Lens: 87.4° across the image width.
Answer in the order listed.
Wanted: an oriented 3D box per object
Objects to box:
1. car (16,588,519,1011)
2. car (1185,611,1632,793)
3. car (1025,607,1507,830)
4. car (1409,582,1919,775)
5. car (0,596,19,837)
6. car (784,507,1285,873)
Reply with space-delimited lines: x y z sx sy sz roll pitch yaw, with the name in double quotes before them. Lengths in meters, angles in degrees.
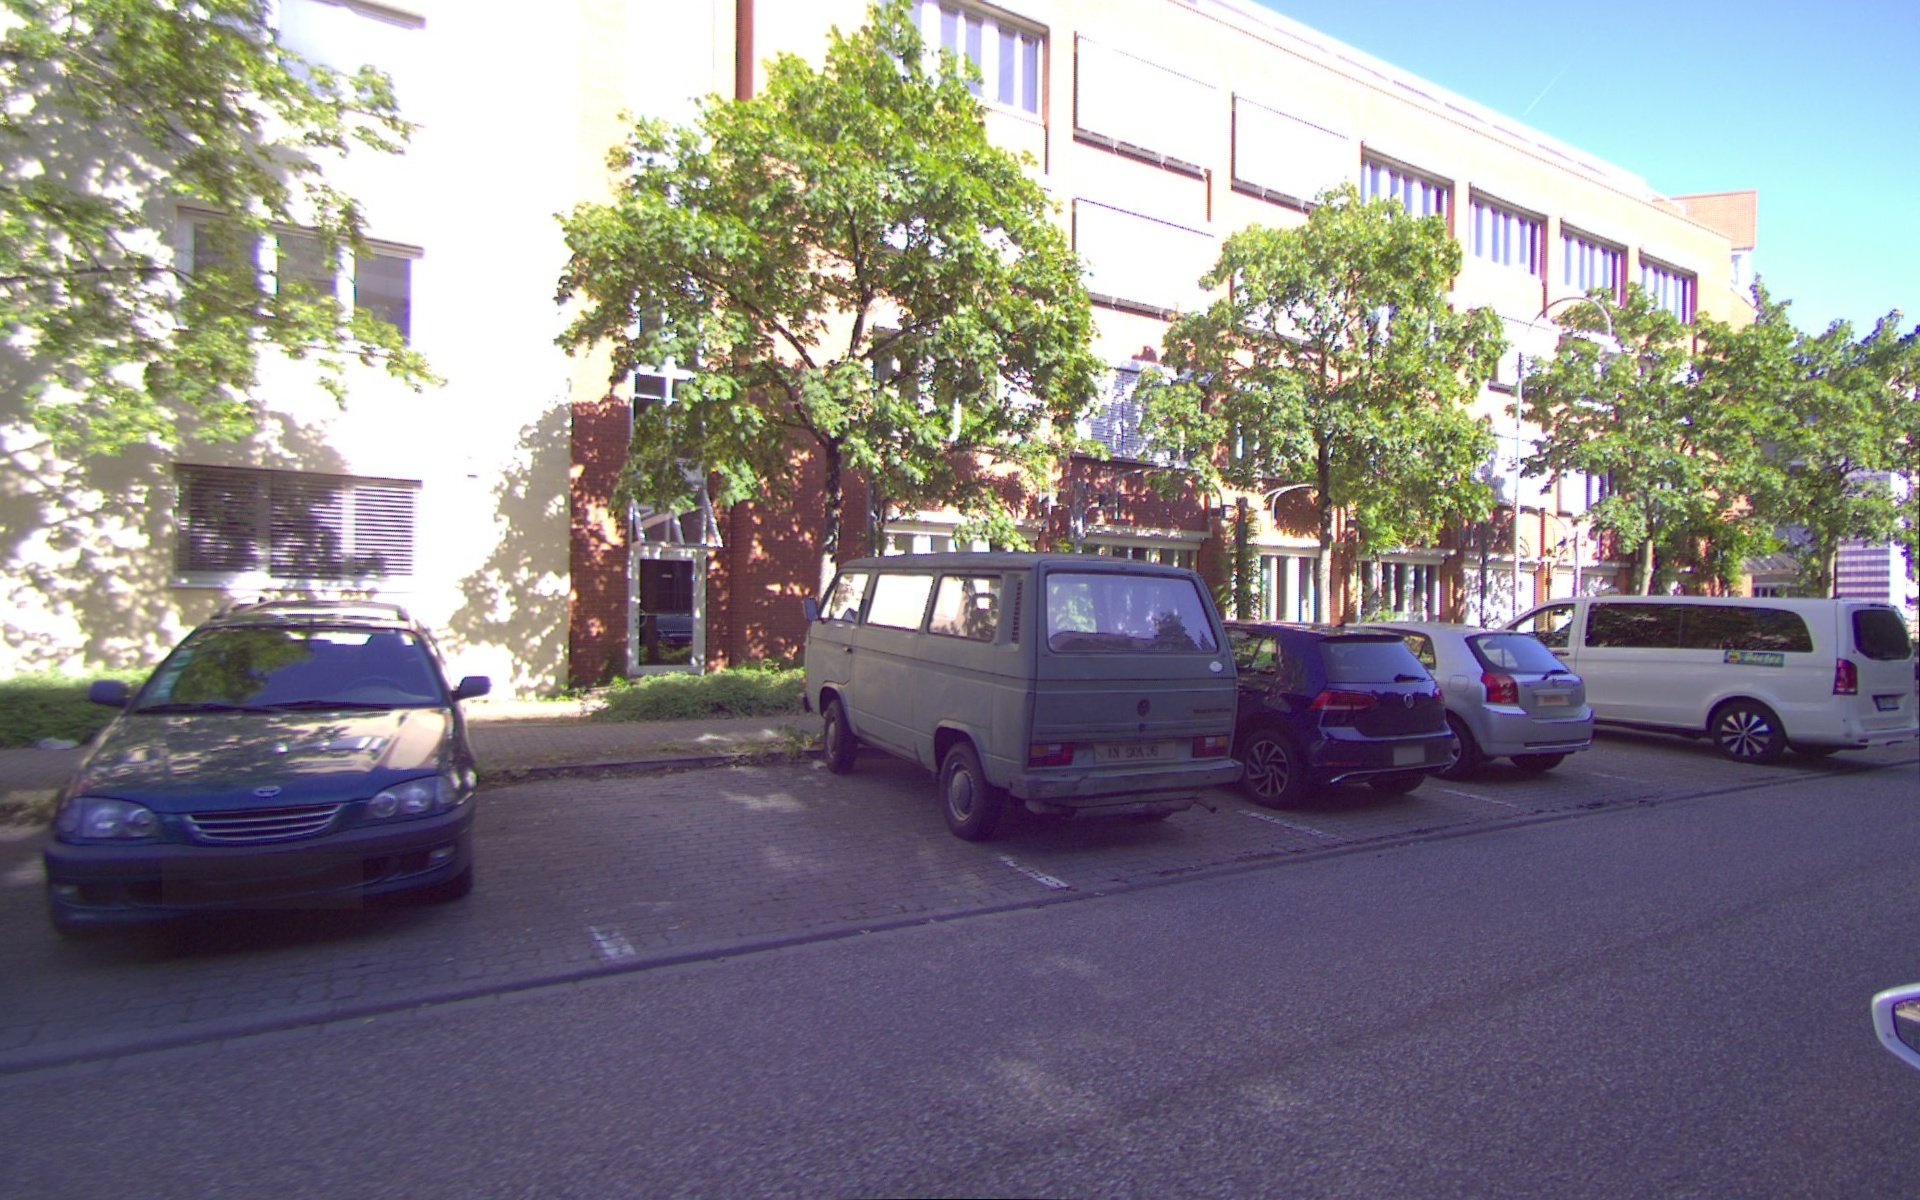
"car" -3.767 0.738 5.963 1.704 1.548 4.113 1 1 -29
"car" 4.695 0.940 11.236 1.918 1.497 4.304 1 0 -27
"car" 2.558 0.875 9.544 1.918 1.497 4.304 1 0 -27
"car" 8.817 0.792 13.165 1.920 1.993 5.233 1 1 -29
"car" -5.695 0.720 4.295 1.706 1.446 3.706 1 1 -32
"car" 0.238 0.504 8.271 2.056 2.118 4.470 1 1 -27
